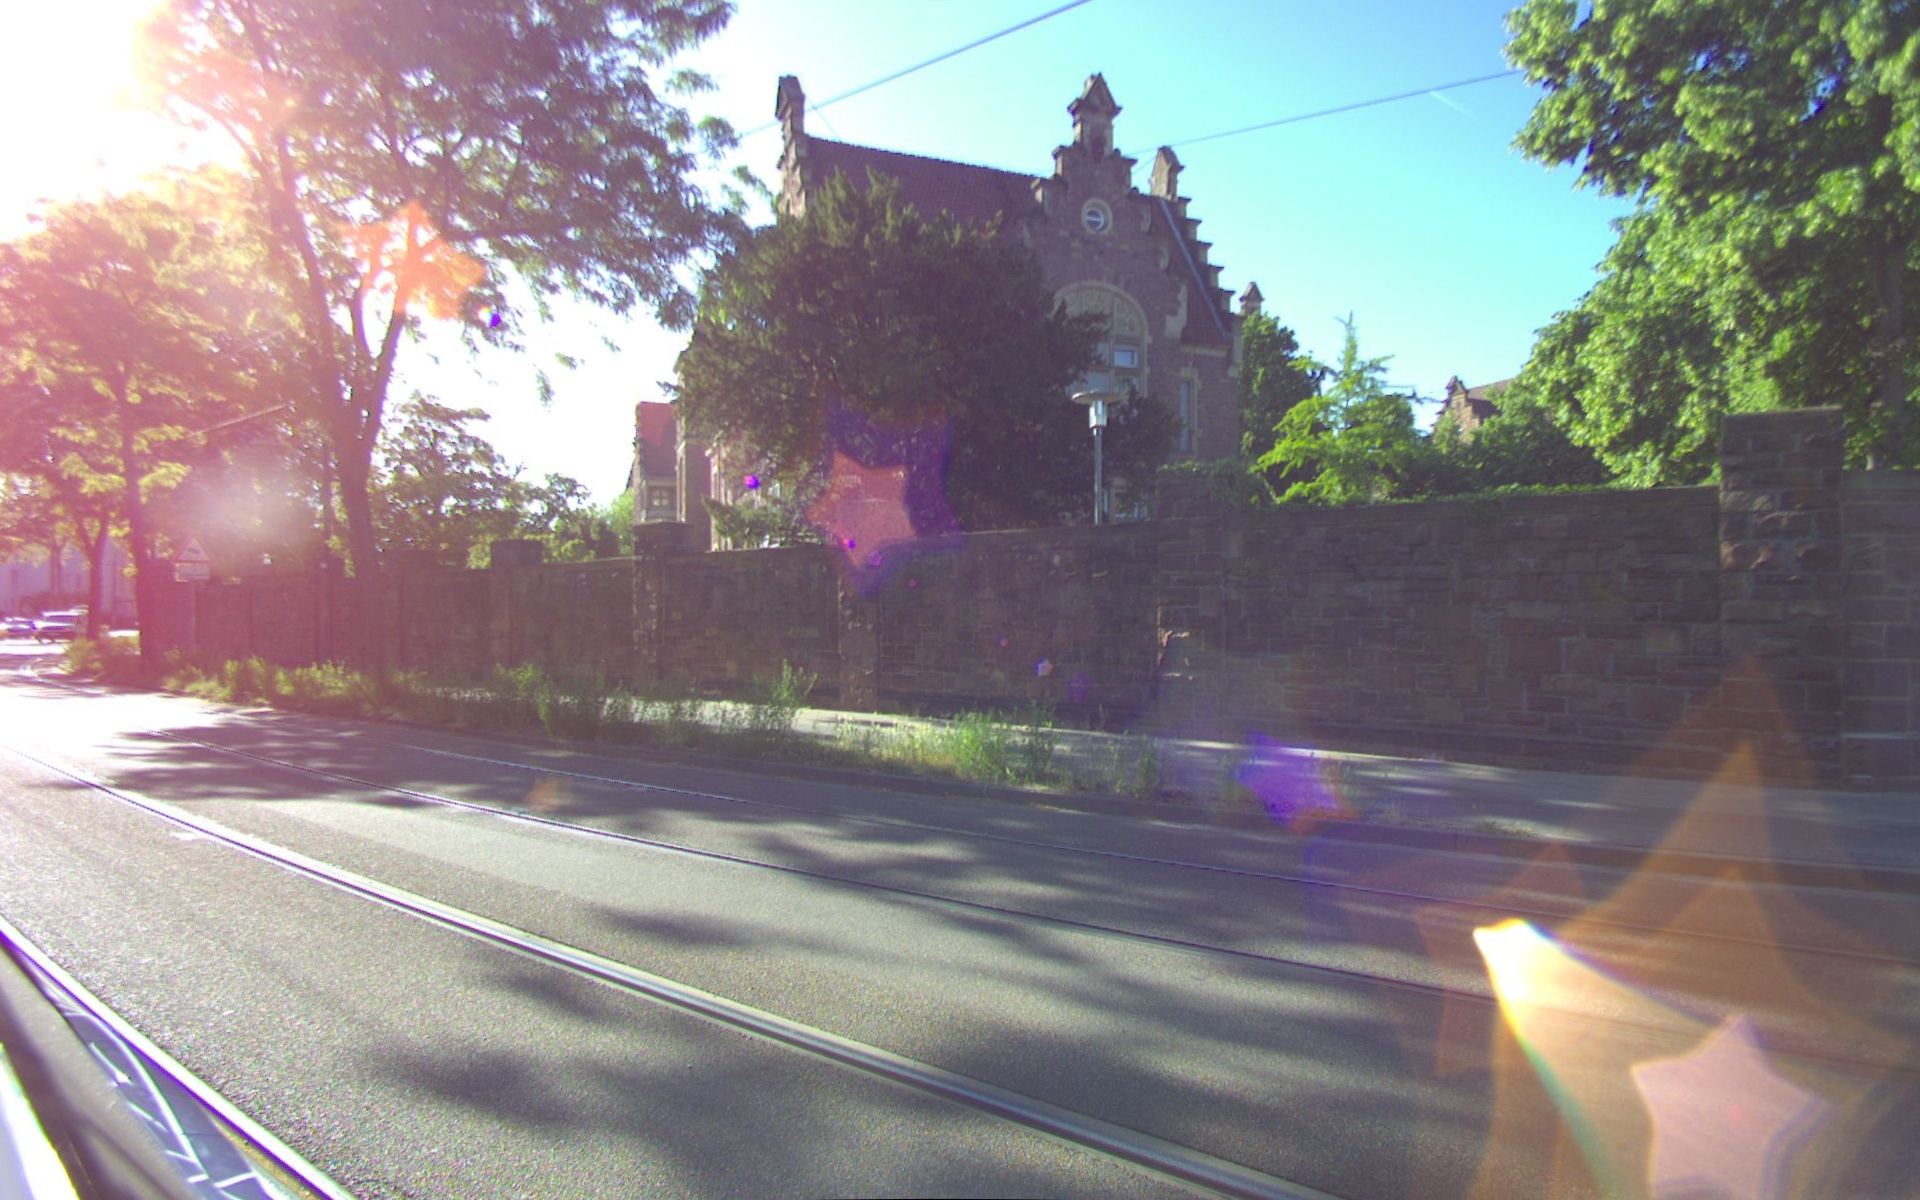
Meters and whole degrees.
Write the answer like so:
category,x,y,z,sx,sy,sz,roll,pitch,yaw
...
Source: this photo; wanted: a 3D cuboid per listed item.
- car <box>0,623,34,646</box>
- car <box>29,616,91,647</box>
category,x,y,z,sx,sy,sz,roll,pitch,yaw
car,-68.917,2.505,73.838,1.969,1.560,4.005,0,-1,-41
car,-55.531,1.922,62.542,1.846,1.830,4.982,0,-1,-29
